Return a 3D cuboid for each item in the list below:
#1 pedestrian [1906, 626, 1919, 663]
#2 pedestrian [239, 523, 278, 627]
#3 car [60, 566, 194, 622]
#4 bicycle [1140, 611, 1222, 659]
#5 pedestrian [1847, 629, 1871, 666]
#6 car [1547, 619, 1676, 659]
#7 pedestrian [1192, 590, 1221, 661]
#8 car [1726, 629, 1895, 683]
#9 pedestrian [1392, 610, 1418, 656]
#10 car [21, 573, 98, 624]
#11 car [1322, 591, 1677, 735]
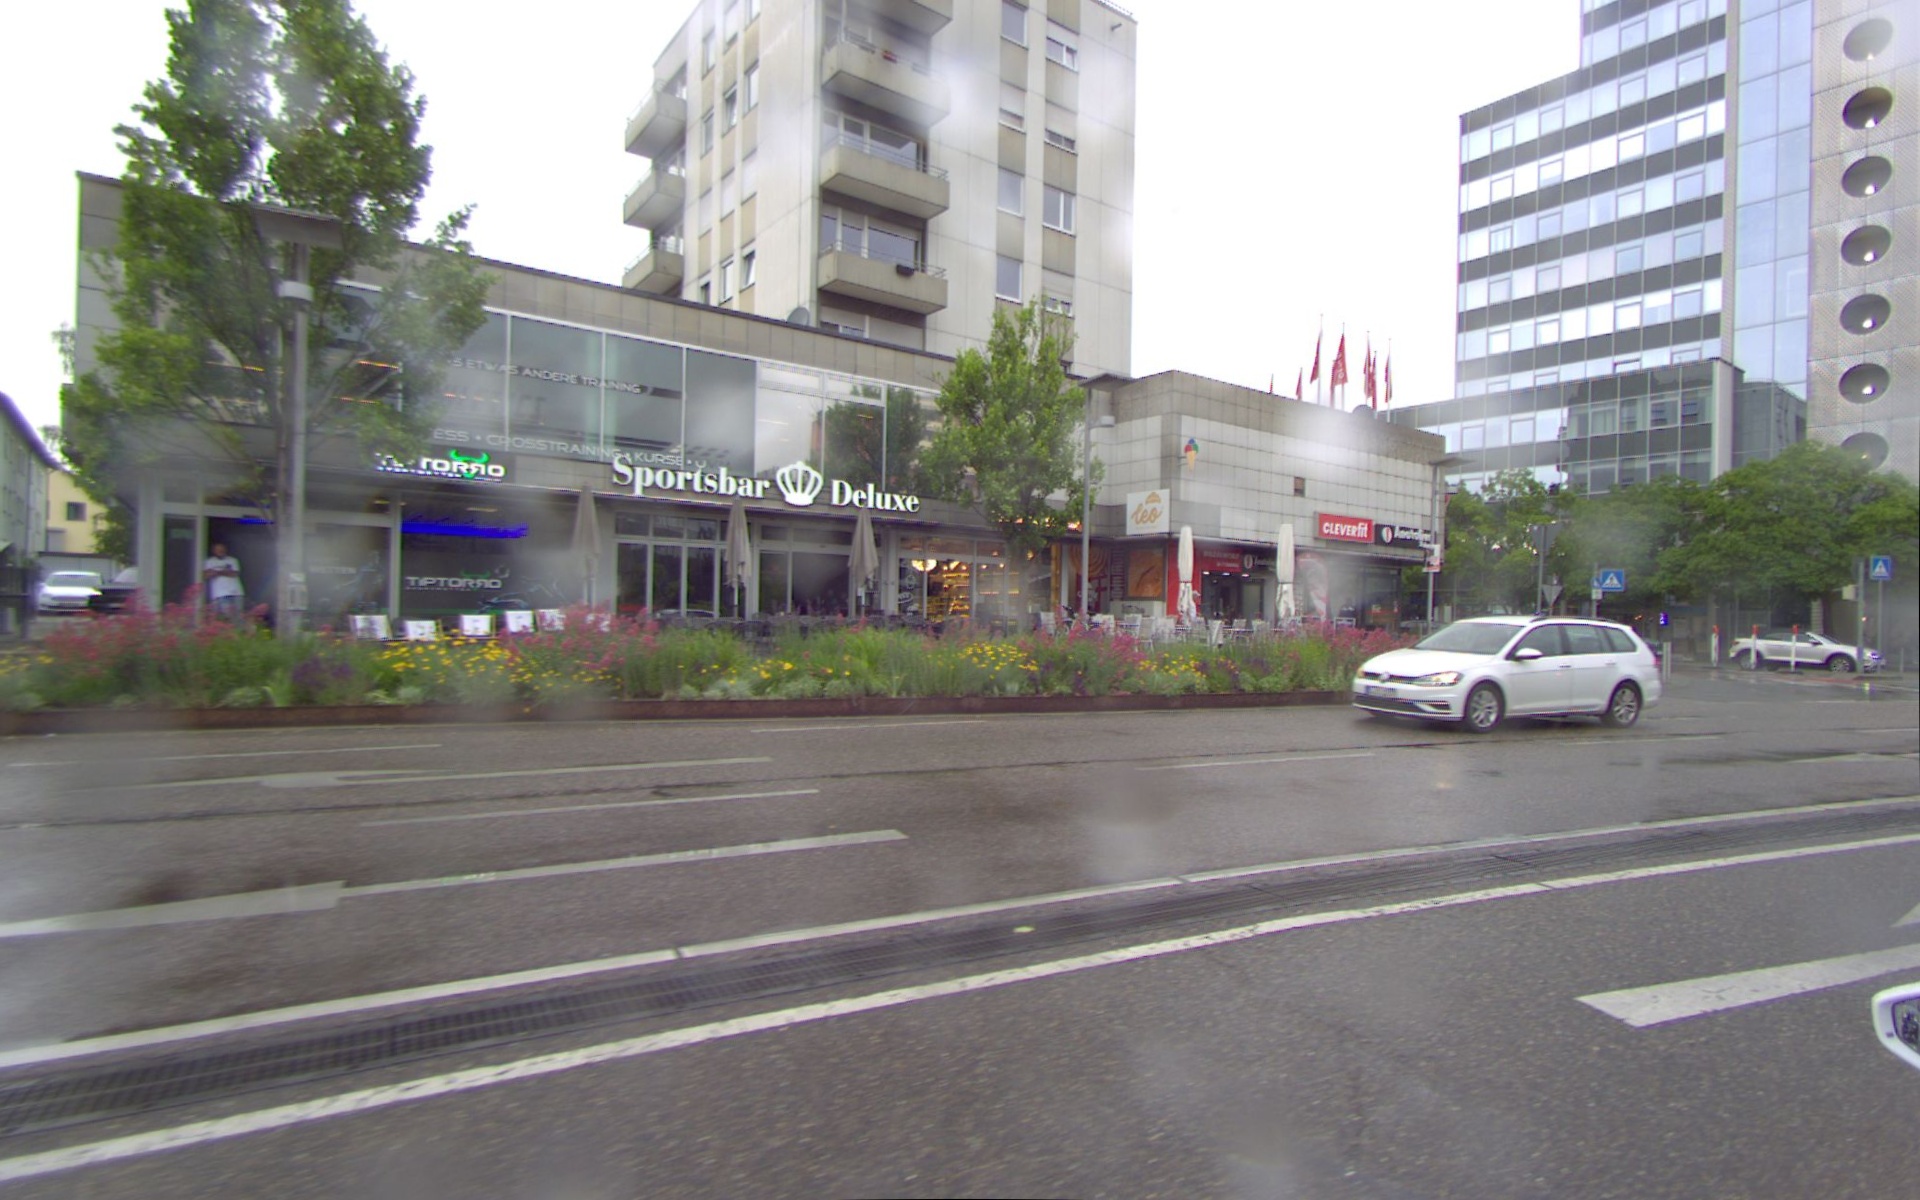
[{"bbox_3d":[48.926,2.266,51.302,0.747,1.893,0.824,2,-1,-40],"label":"pedestrian"},{"bbox_3d":[-12.886,-0.444,18.460,0.494,1.873,0.424,1,0,-26],"label":"pedestrian"},{"bbox_3d":[-28.513,-0.198,34.568,1.838,1.790,3.991,2,0,-12],"label":"car"},{"bbox_3d":[6.227,0.961,28.475,0.689,1.239,2.530,1,0,-32],"label":"bicycle"},{"bbox_3d":[46.992,2.451,52.501,0.739,1.893,0.833,1,-1,26],"label":"pedestrian"},{"bbox_3d":[26.444,1.567,40.903,1.848,1.439,4.026,2,0,-30],"label":"car"},{"bbox_3d":[6.148,0.631,25.073,0.643,1.715,0.716,2,0,11],"label":"pedestrian"},{"bbox_3d":[29.896,1.915,35.437,1.849,1.616,4.169,1,0,-31],"label":"car"},{"bbox_3d":[13.695,1.009,30.901,0.527,1.365,0.497,2,0,-3],"label":"pedestrian"},{"bbox_3d":[-33.230,-0.067,37.147,1.711,1.793,3.958,1,0,-37],"label":"car"},{"bbox_3d":[7.347,0.810,13.680,4.441,1.705,1.881,2,0,-23],"label":"car"}]
